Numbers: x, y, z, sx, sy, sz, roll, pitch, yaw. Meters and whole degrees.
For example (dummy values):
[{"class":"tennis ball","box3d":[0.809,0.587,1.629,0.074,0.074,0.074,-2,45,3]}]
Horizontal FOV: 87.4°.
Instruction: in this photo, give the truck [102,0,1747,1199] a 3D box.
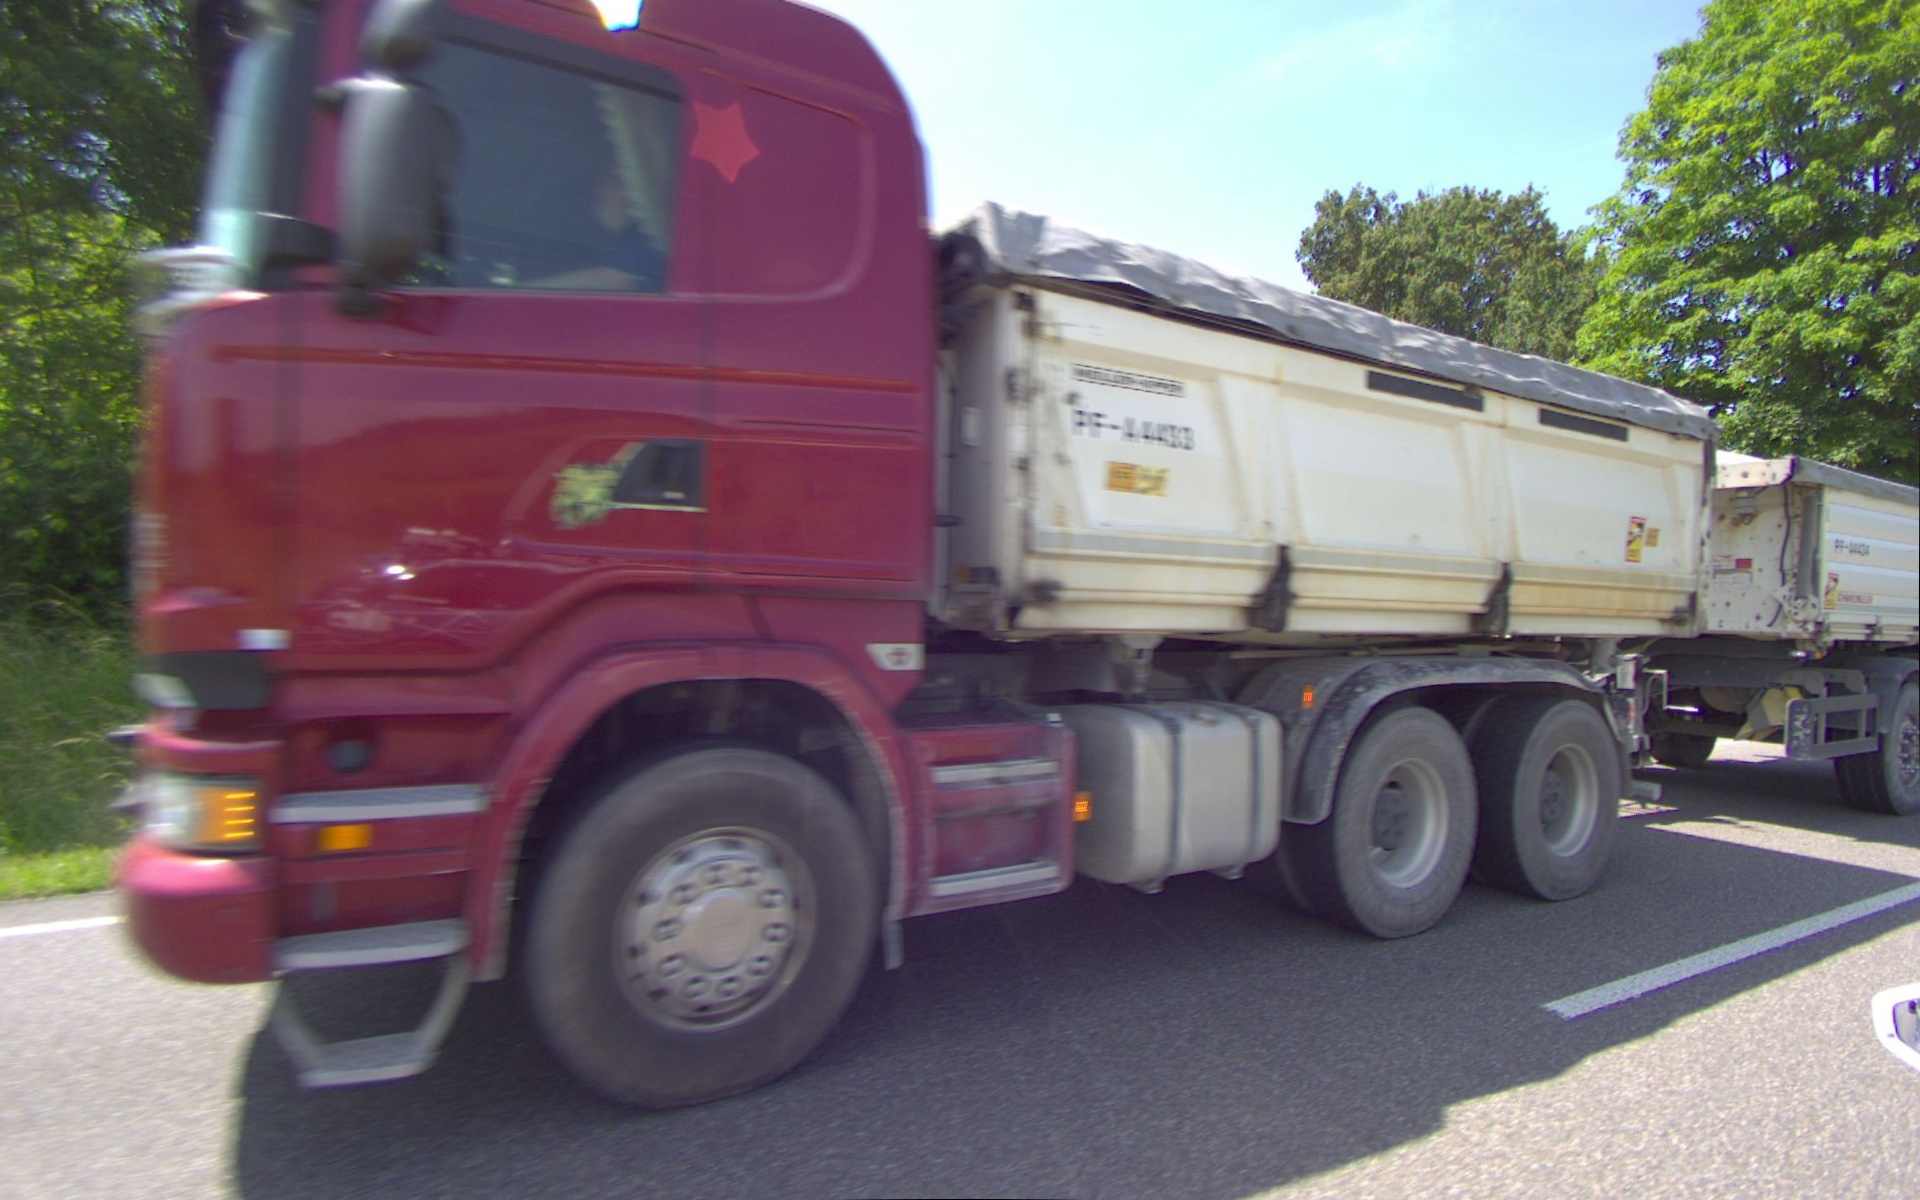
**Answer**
[{"class":"truck","box3d":[0.849,-0.173,5.237,7.671,3.607,2.518,2,-1,-31]}]

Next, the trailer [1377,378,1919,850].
[{"class":"trailer","box3d":[7.194,0.174,9.128,6.995,2.911,2.630,2,-1,-31]}]
